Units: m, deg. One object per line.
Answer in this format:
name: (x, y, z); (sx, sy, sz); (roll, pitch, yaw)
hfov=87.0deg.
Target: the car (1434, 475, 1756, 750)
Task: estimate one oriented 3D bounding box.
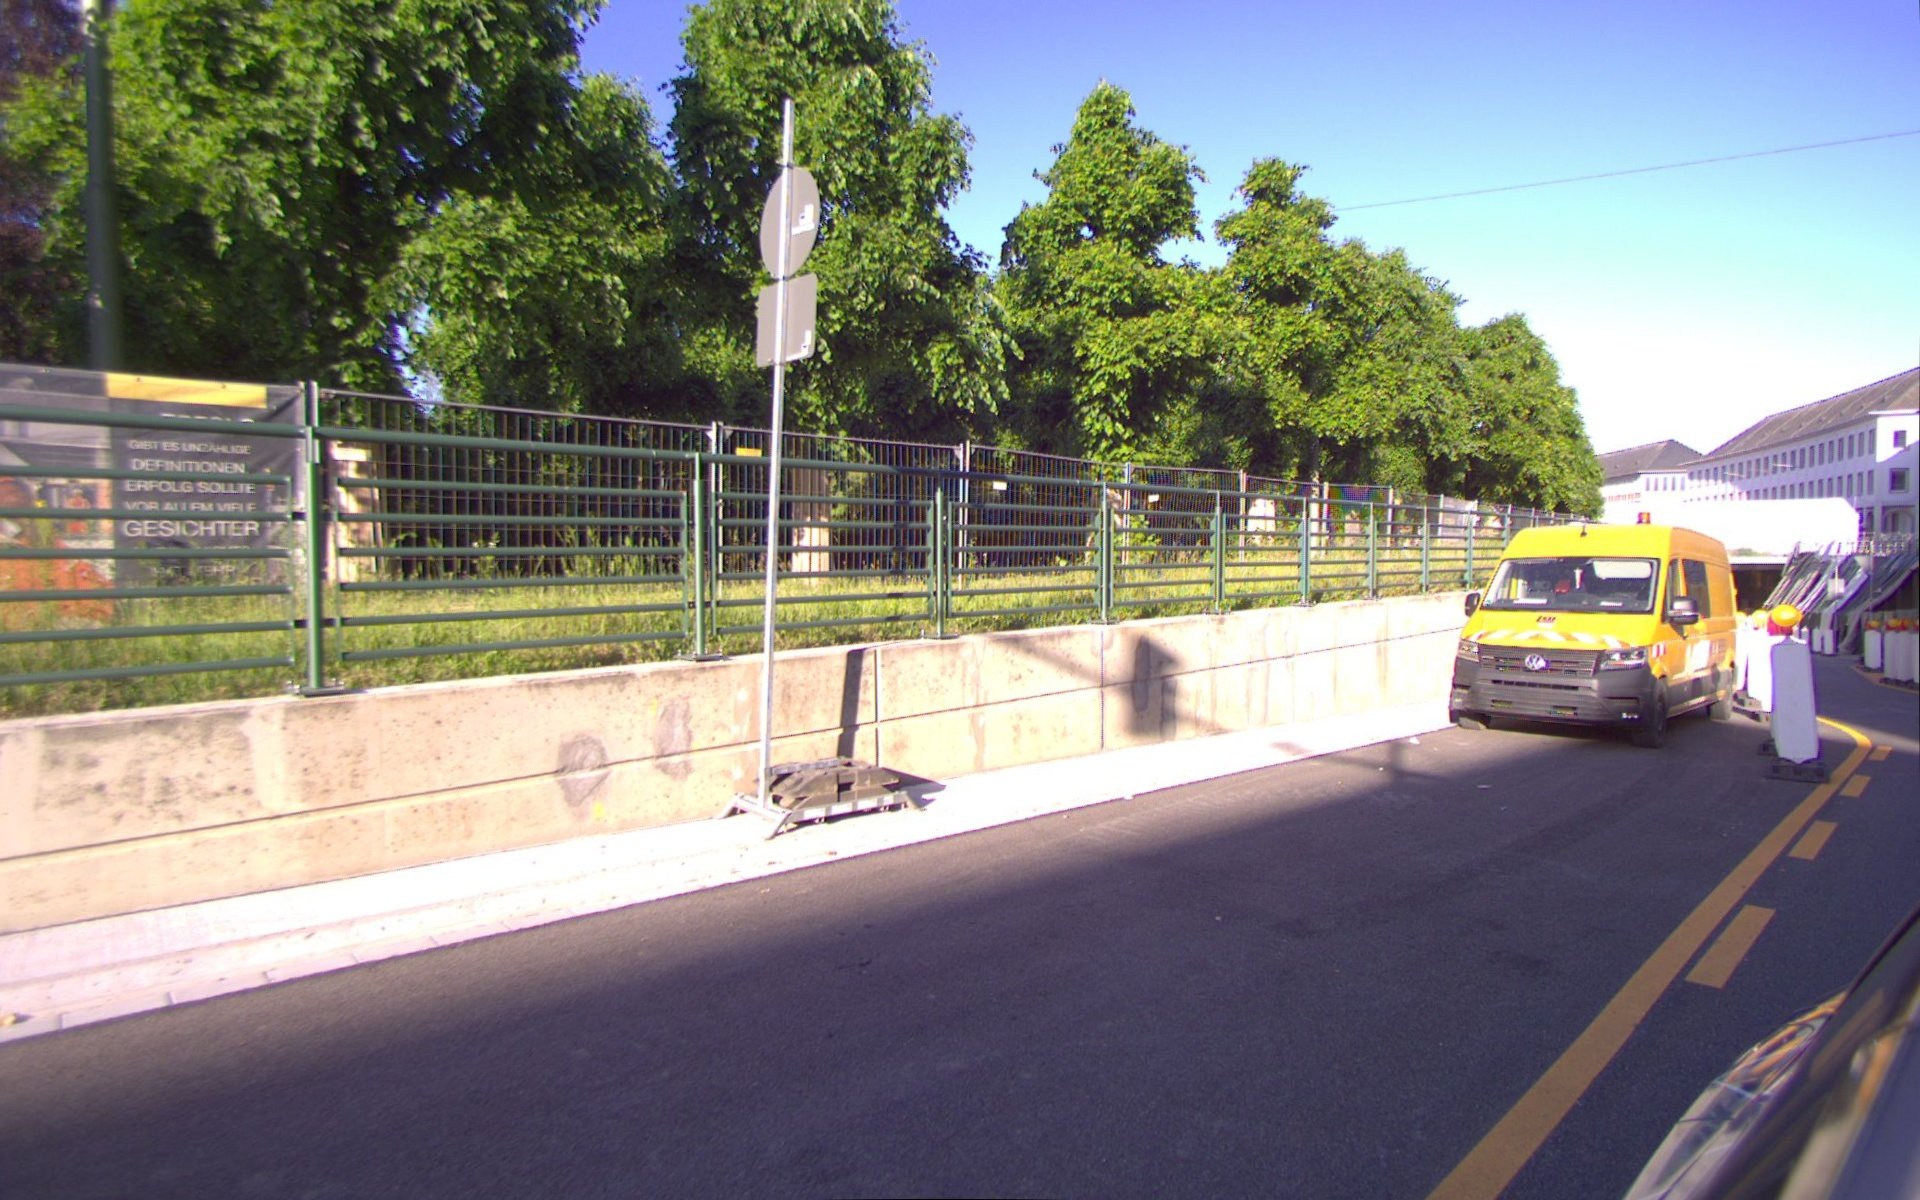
car: (8.442, 0.108, 13.018); (2.112, 2.657, 6.875); (1, 1, 44)
